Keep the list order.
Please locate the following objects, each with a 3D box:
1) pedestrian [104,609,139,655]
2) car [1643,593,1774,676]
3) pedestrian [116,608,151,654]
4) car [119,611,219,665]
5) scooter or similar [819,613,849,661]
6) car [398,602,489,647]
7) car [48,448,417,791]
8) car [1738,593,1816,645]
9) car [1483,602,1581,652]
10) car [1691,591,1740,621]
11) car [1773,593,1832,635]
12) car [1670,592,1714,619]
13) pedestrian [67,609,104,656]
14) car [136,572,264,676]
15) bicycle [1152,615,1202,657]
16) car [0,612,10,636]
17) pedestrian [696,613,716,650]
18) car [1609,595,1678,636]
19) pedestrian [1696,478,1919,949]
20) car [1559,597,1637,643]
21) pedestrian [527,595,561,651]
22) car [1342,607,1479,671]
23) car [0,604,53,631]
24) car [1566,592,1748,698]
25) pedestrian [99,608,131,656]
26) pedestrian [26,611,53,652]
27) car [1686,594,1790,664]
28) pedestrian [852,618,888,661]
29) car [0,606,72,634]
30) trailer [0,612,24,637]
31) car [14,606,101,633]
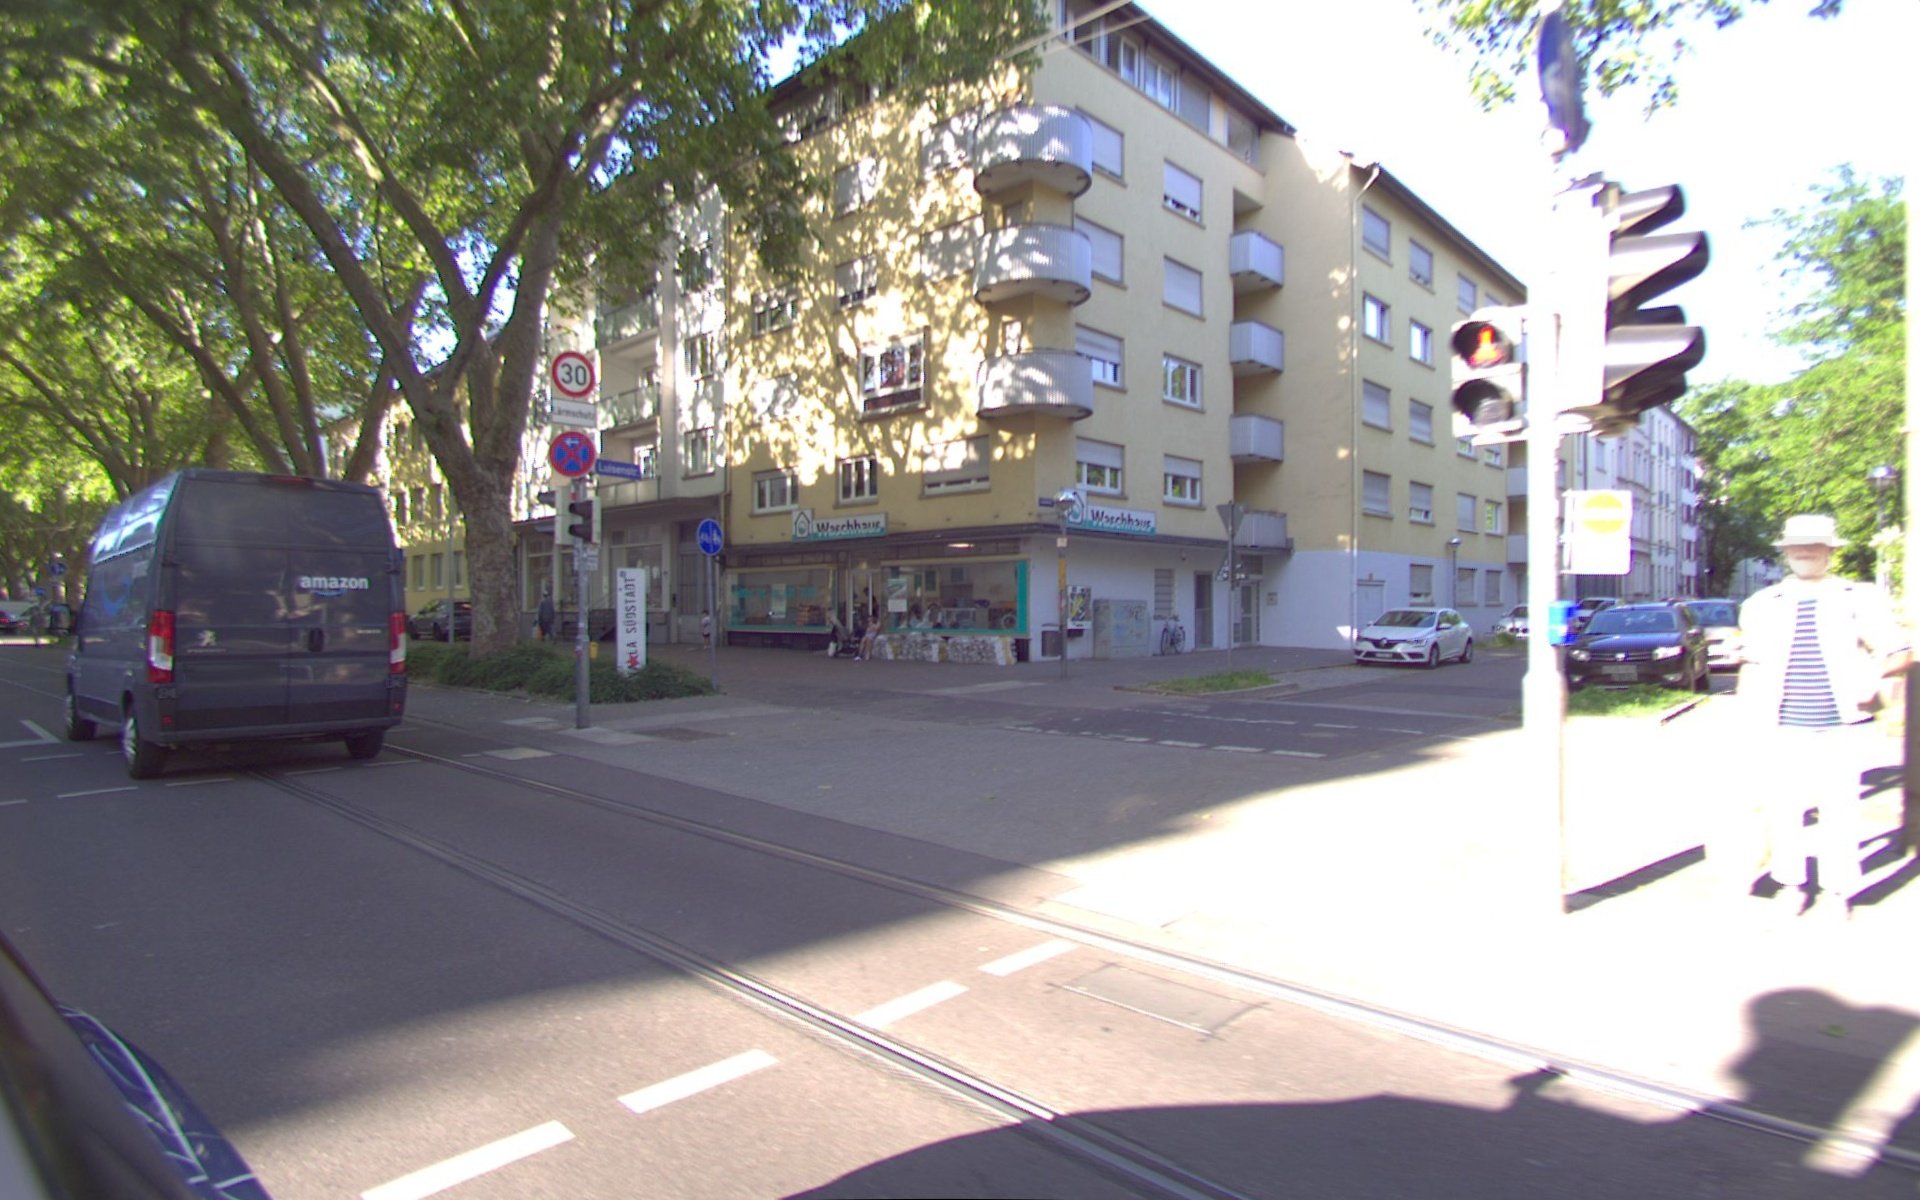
[{"bbox_3d":[-32.570,1.217,39.331,0.759,1.748,0.715,-1,0,-5],"label":"pedestrian"},{"bbox_3d":[16.800,0.693,22.643,1.961,1.674,3.944,0,0,42],"label":"car"},{"bbox_3d":[-32.612,1.212,39.940,0.759,1.748,0.718,-1,0,-5],"label":"pedestrian"},{"bbox_3d":[-25.514,1.155,32.593,4.284,1.573,1.896,0,1,43],"label":"car"},{"bbox_3d":[-3.232,0.943,25.942,0.633,1.176,0.677,-1,0,-20],"label":"scooter or similar"},{"bbox_3d":[-21.891,0.998,42.791,4.900,1.746,1.971,0,1,44],"label":"car"},{"bbox_3d":[-8.161,0.180,11.020,6.115,2.759,2.090,0,-1,43],"label":"car"},{"bbox_3d":[27.887,0.609,34.513,1.837,1.630,3.944,0,1,42],"label":"car"},{"bbox_3d":[19.004,0.843,33.562,2.000,1.469,3.944,0,1,42],"label":"car"},{"bbox_3d":[45.614,0.331,61.084,2.000,1.696,3.944,0,1,42],"label":"car"},{"bbox_3d":[37.194,0.581,44.664,1.824,1.719,3.944,0,1,42],"label":"car"},{"bbox_3d":[49.474,0.348,68.352,2.000,1.696,3.944,0,1,42],"label":"car"},{"bbox_3d":[-33.284,1.234,38.521,0.703,1.748,0.771,-1,0,-2],"label":"pedestrian"},{"bbox_3d":[-21.381,0.598,28.349,2.083,2.597,6.028,-1,1,-44],"label":"car"},{"bbox_3d":[5.933,0.975,27.629,0.543,1.092,1.615,-2,-1,44],"label":"bicycle"},{"bbox_3d":[-70.098,1.674,72.961,4.181,1.696,1.902,0,-3,42],"label":"car"},{"bbox_3d":[-7.814,0.974,31.131,0.436,1.114,0.416,-1,0,34],"label":"pedestrian"},{"bbox_3d":[30.475,0.664,45.088,2.000,1.696,3.944,0,1,42],"label":"car"},{"bbox_3d":[3.864,0.440,4.476,0.919,1.849,0.914,0,0,40],"label":"pedestrian"},{"bbox_3d":[25.734,0.750,40.790,2.000,1.696,3.944,0,1,42],"label":"car"},{"bbox_3d":[-14.175,0.764,34.477,0.863,1.883,0.736,0,0,42],"label":"pedestrian"},{"bbox_3d":[11.302,0.912,25.262,2.000,1.386,3.944,0,1,42],"label":"car"},{"bbox_3d":[-91.159,1.664,98.112,2.000,2.552,4.598,0,1,43],"label":"car"},{"bbox_3d":[11.743,0.651,16.952,2.000,1.519,3.944,0,1,42],"label":"car"},{"bbox_3d":[-32.051,1.195,38.389,0.757,1.790,0.716,-1,0,-24],"label":"pedestrian"},{"bbox_3d":[-41.402,1.407,45.502,0.799,1.805,0.693,-1,0,31],"label":"pedestrian"},{"bbox_3d":[20.852,0.710,27.075,1.868,1.674,3.944,0,1,42],"label":"car"},{"bbox_3d":[-2.285,1.003,25.691,0.711,1.055,0.572,0,0,42],"label":"pedestrian"},{"bbox_3d":[-80.432,1.711,88.020,2.000,2.323,4.598,0,1,43],"label":"car"},{"bbox_3d":[-66.158,1.634,69.296,6.582,1.644,2.420,0,-3,42],"label":"trailer"},{"bbox_3d":[-73.645,1.543,82.667,1.998,2.010,5.070,0,1,39],"label":"car"}]
